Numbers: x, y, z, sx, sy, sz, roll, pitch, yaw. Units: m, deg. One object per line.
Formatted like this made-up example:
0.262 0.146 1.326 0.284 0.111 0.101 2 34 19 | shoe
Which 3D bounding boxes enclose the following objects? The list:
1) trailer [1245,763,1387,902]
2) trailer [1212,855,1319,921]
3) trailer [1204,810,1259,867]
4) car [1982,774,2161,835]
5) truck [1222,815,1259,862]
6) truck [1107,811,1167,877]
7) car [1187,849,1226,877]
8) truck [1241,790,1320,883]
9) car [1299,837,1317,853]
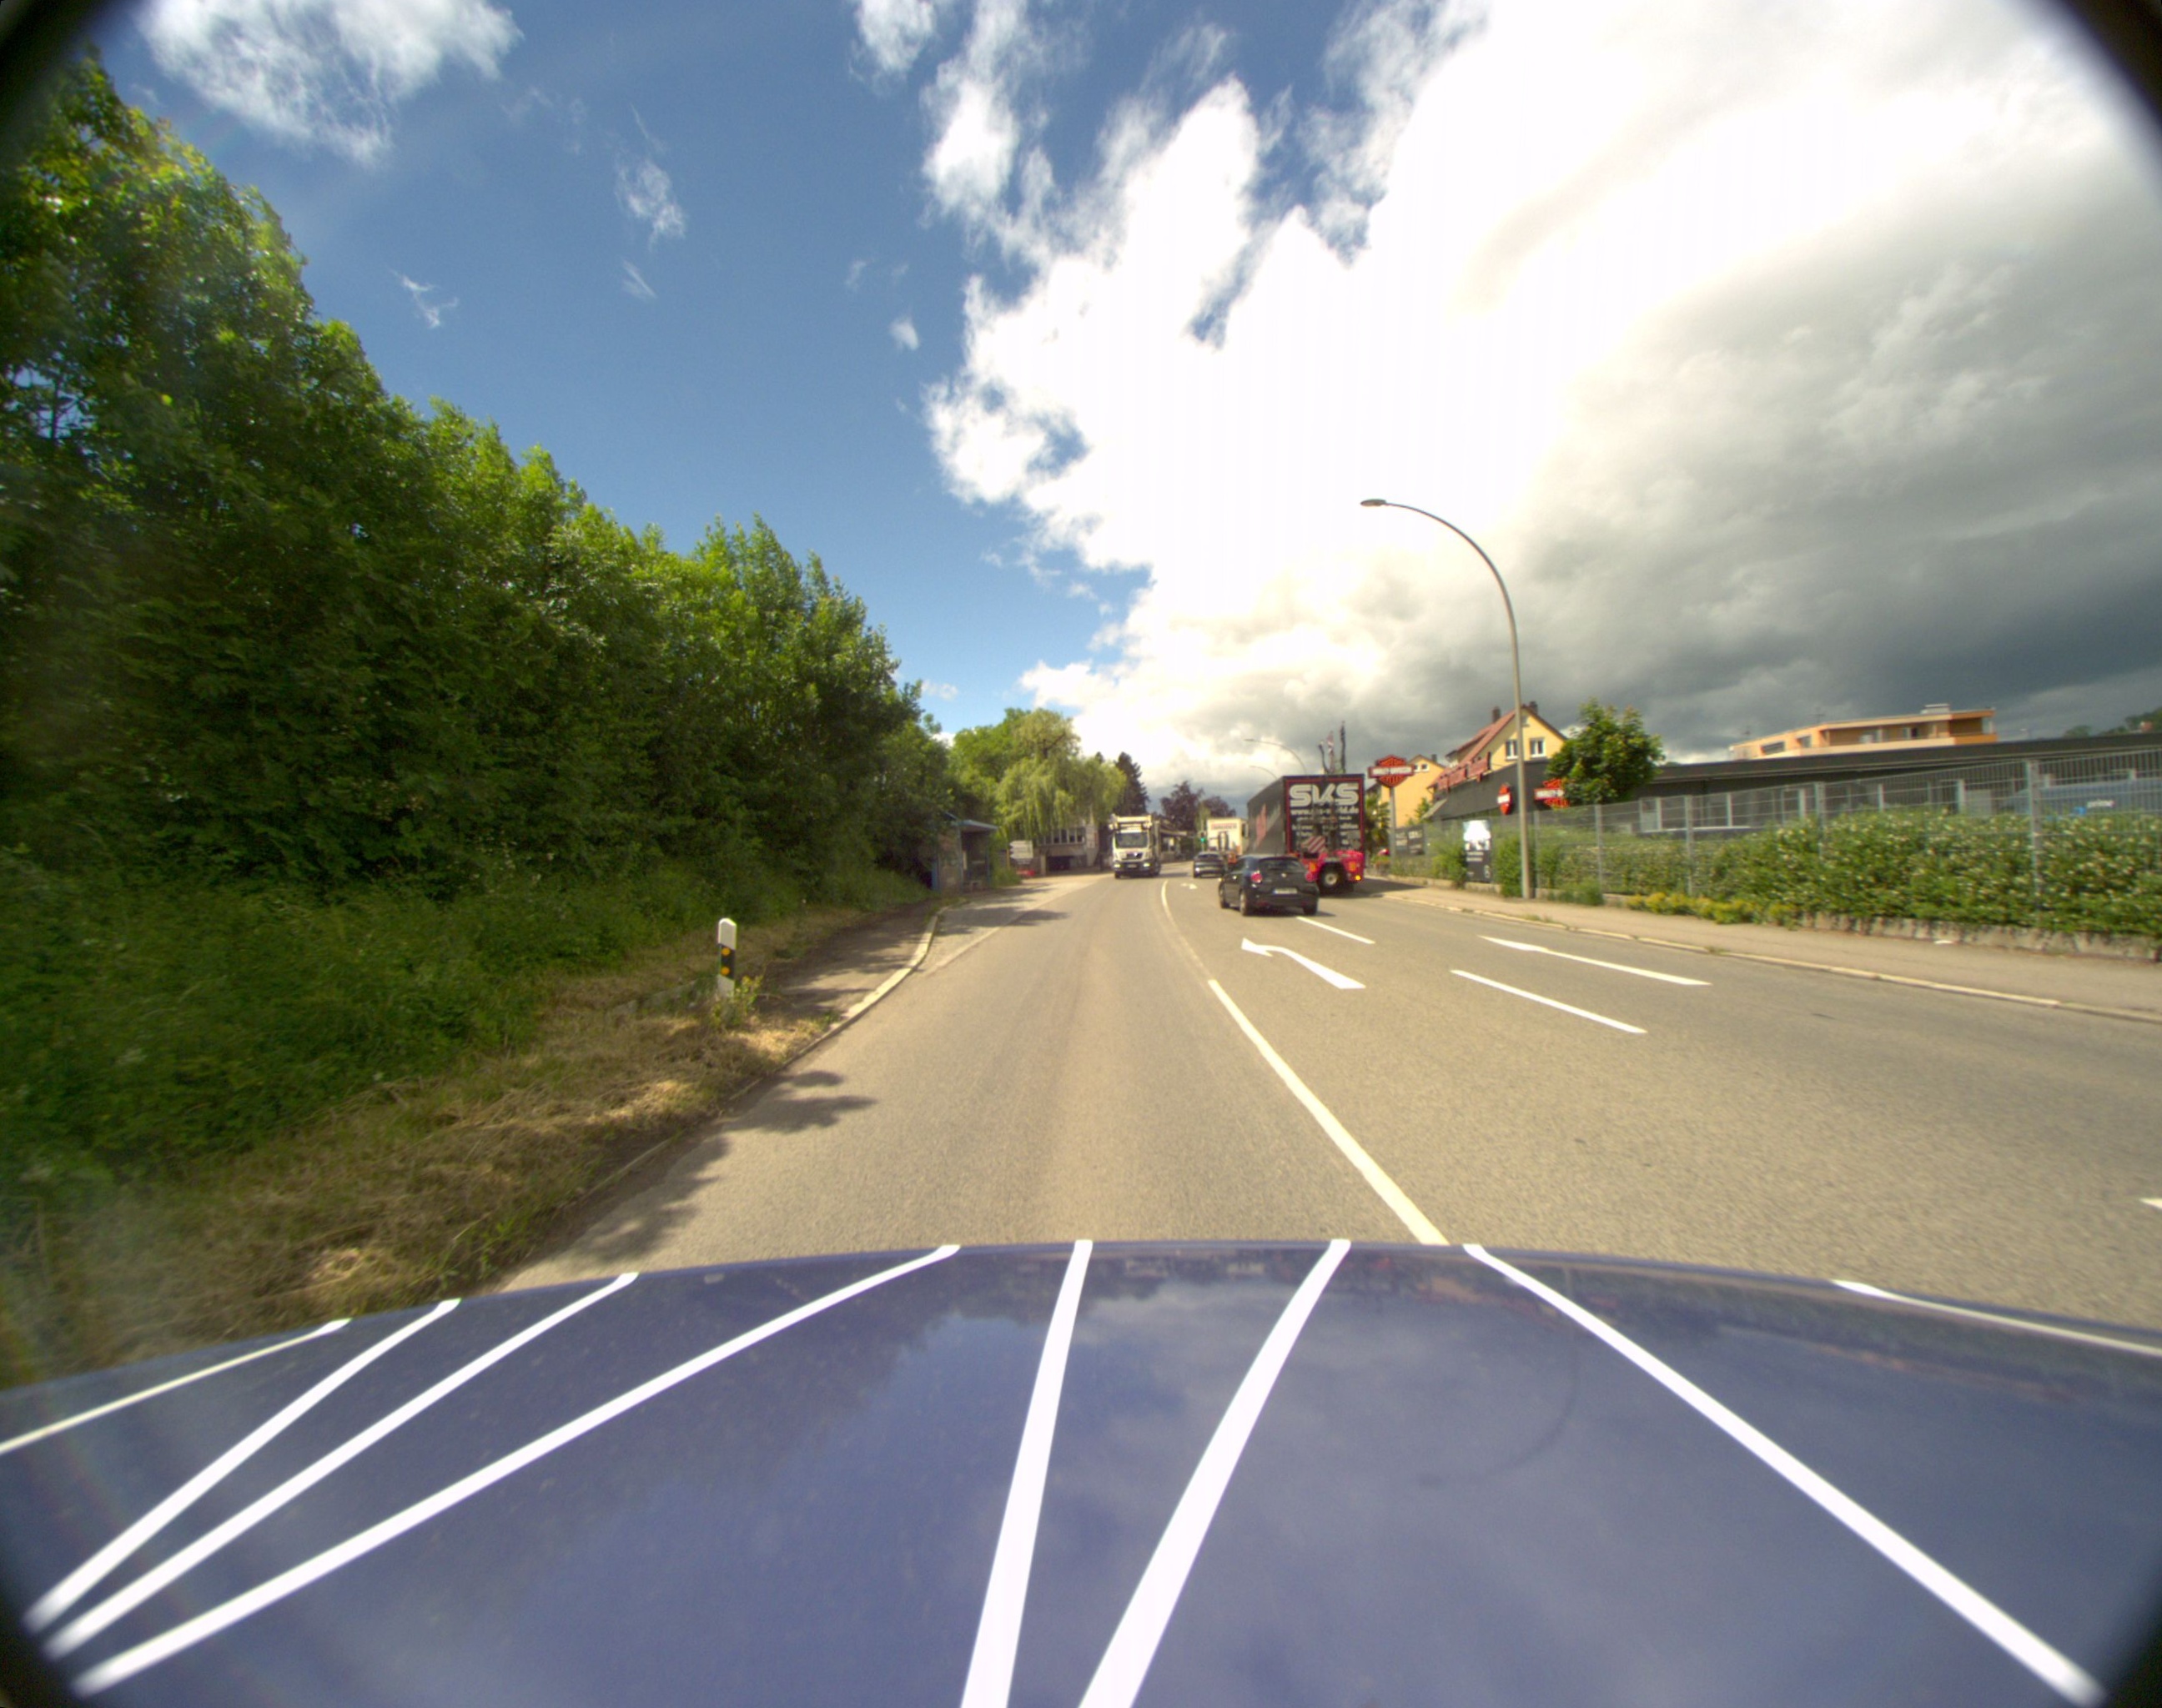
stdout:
8.696 -0.729 30.515 2.804 4.029 15.563 -3 0 8 | trailer
4.421 0.745 18.747 1.651 1.415 4.000 -1 0 0 | trailer
12.817 -1.294 63.531 2.775 4.121 15.367 -3 1 17 | trailer
29.558 -1.402 22.404 1.724 1.596 4.154 -3 1 14 | car
14.815 -1.439 70.185 2.775 4.095 4.991 -3 1 17 | truck
3.837 -0.658 49.758 2.662 3.789 9.822 -3 1 11 | truck
7.198 0.479 43.947 1.843 1.455 4.254 -1 1 4 | car
9.581 -0.825 37.140 2.804 4.029 6.504 -3 1 8 | truck
25.116 -1.023 84.065 1.811 1.612 3.625 -3 1 17 | car
